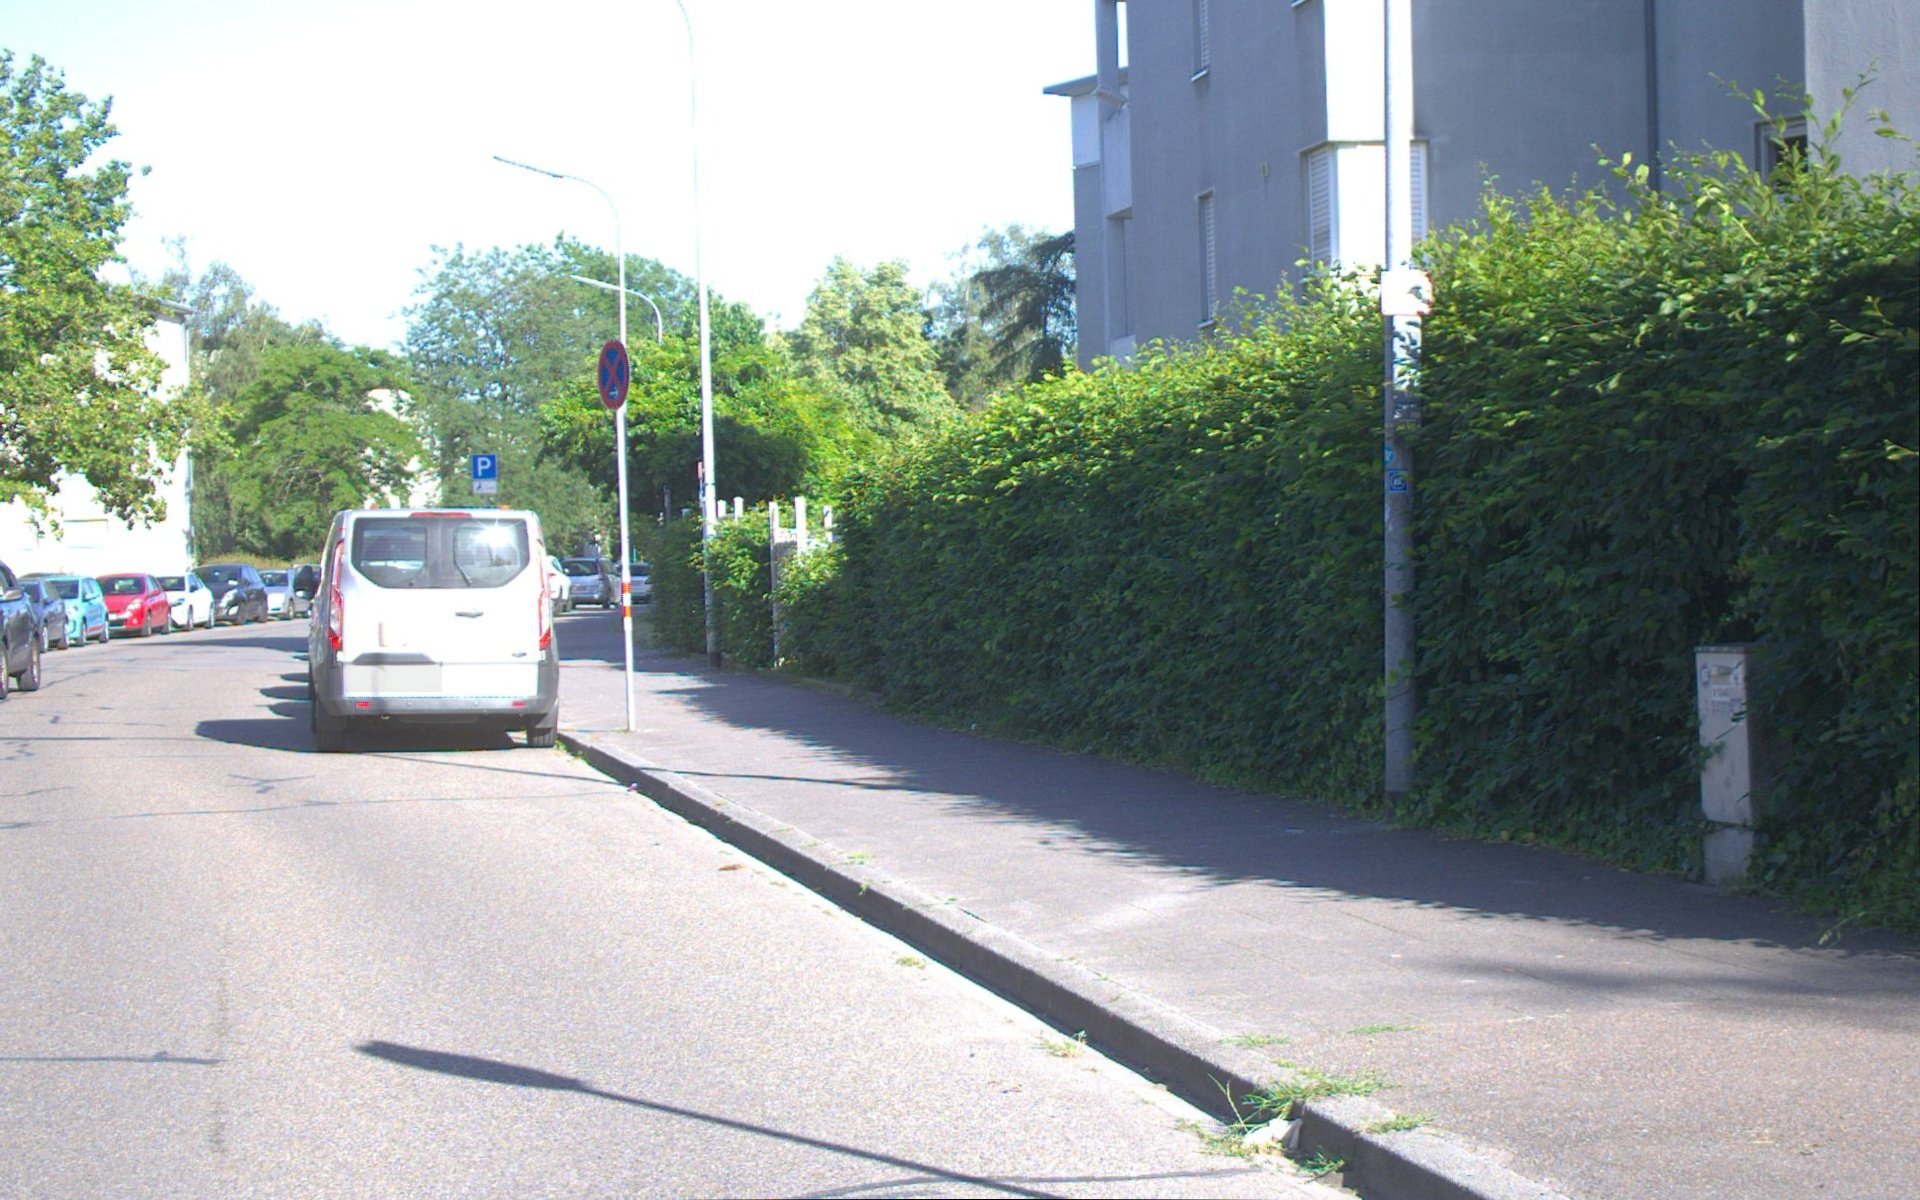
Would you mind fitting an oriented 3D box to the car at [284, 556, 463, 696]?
[{"bbox_3d":[-6.824,0.264,40.053,1.909,1.483,4.376,-2,1,-10],"label":"car"}]

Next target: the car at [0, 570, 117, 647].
[{"bbox_3d":[-18.772,0.154,71.530,1.670,1.469,3.679,-3,1,-3],"label":"car"}]

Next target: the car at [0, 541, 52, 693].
[{"bbox_3d":[-11.947,0.206,40.408,1.912,1.699,4.186,-3,1,-8],"label":"car"}]

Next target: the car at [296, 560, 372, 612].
[{"bbox_3d":[-18.645,-0.431,102.566,1.660,1.421,4.050,-3,1,-3],"label":"car"}]

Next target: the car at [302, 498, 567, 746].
[{"bbox_3d":[-4.614,0.146,29.636,1.993,1.906,4.955,-2,1,-11],"label":"car"}]

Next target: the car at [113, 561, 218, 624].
[{"bbox_3d":[-19.358,-0.207,83.927,1.670,1.416,3.901,-2,1,-1],"label":"car"}]

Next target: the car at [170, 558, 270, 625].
[{"bbox_3d":[-19.551,-0.249,90.984,1.670,1.661,4.406,-3,1,-1],"label":"car"}]

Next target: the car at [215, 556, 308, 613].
[{"bbox_3d":[-19.722,-0.459,97.170,1.660,1.481,4.053,-3,1,1],"label":"car"}]

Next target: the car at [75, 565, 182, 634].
[{"bbox_3d":[-18.958,-0.028,78.512,1.670,1.469,3.679,-3,1,-3],"label":"car"}]

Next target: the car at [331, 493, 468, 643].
[{"bbox_3d":[-9.740,-0.563,60.071,2.104,2.478,5.857,0,1,-7],"label":"car"}]
